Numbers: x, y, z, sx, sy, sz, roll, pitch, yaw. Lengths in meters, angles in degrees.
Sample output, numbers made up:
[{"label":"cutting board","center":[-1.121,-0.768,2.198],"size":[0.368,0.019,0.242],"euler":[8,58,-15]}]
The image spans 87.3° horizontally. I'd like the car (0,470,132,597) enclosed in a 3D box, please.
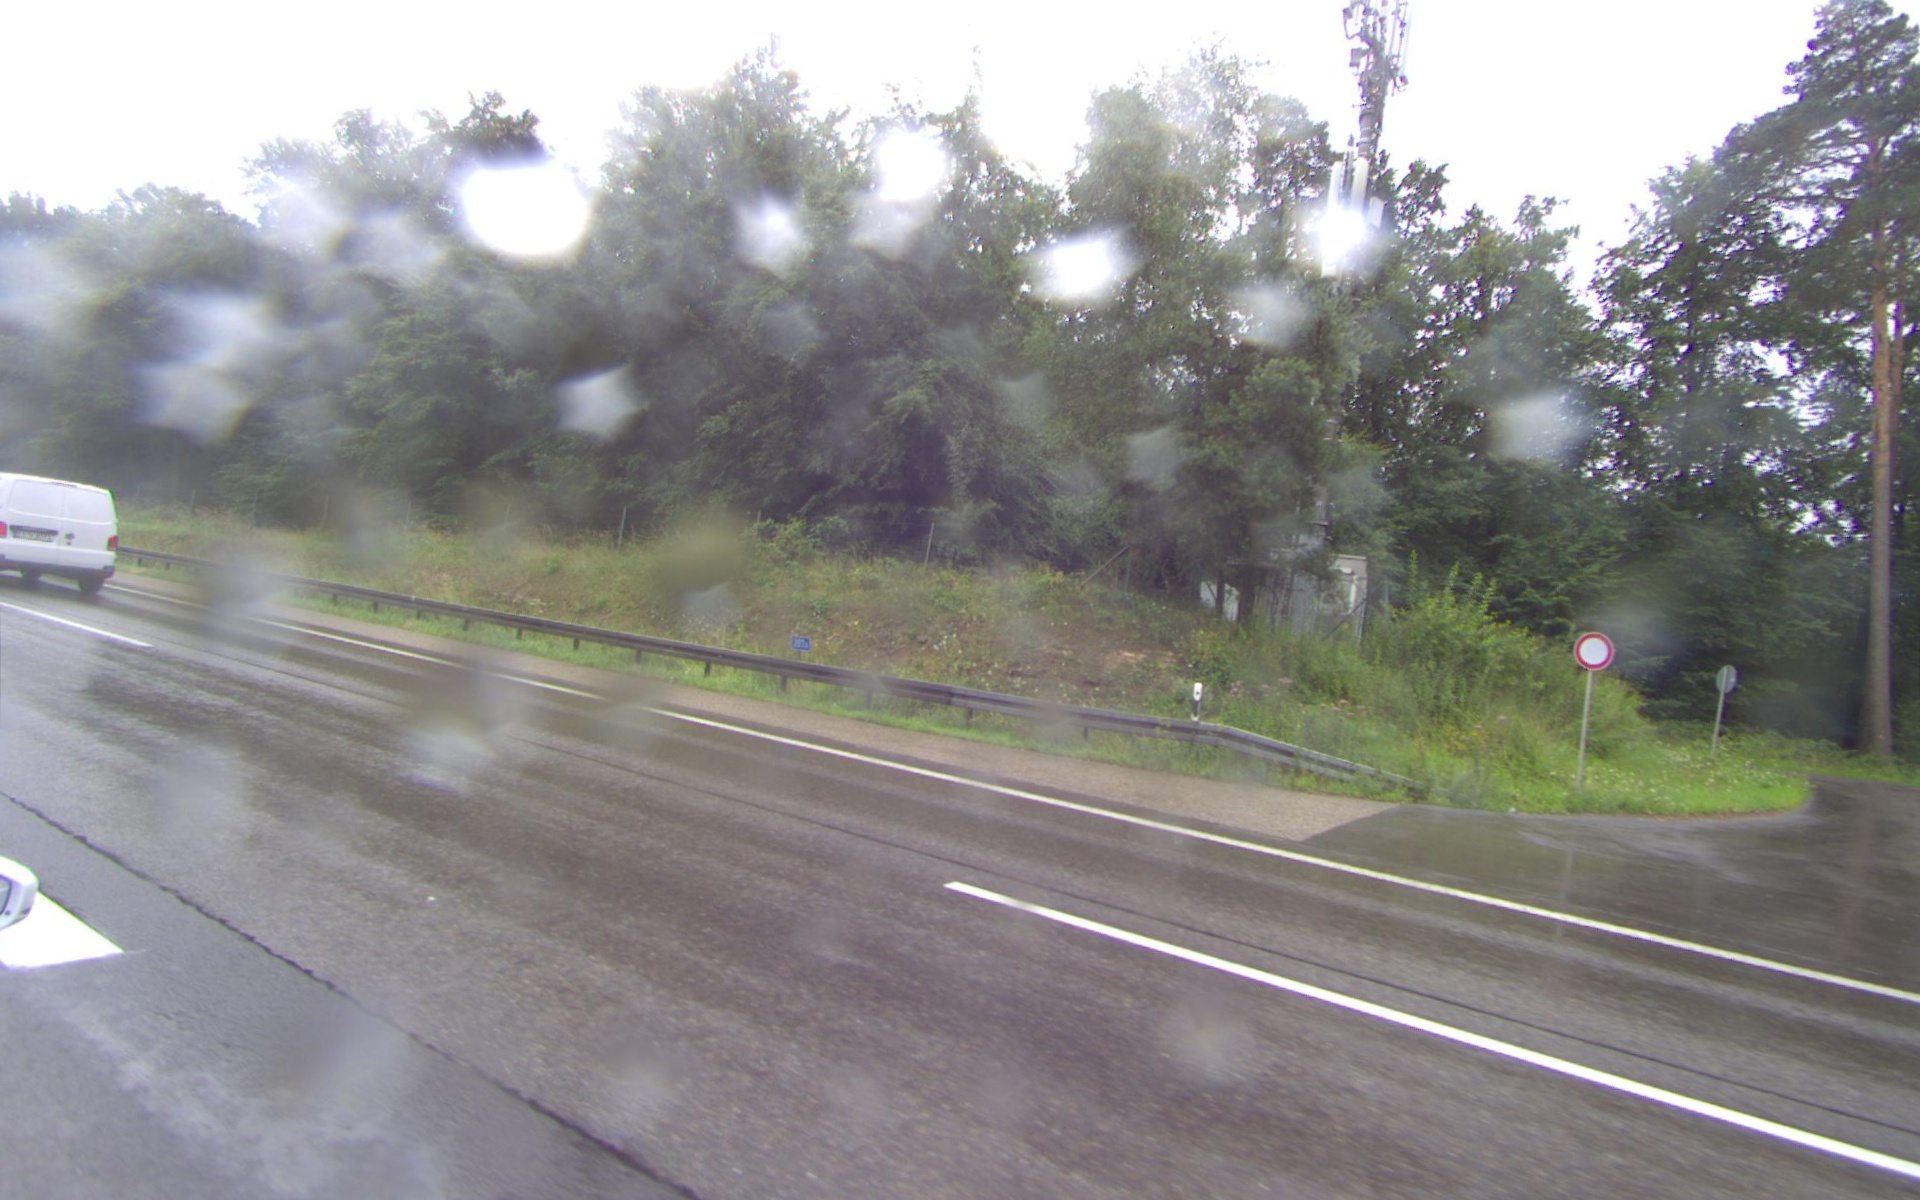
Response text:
[{"label":"car","center":[-17.727,-1.371,18.704],"size":[4.687,1.943,1.994],"euler":[7,-1,31]}]
